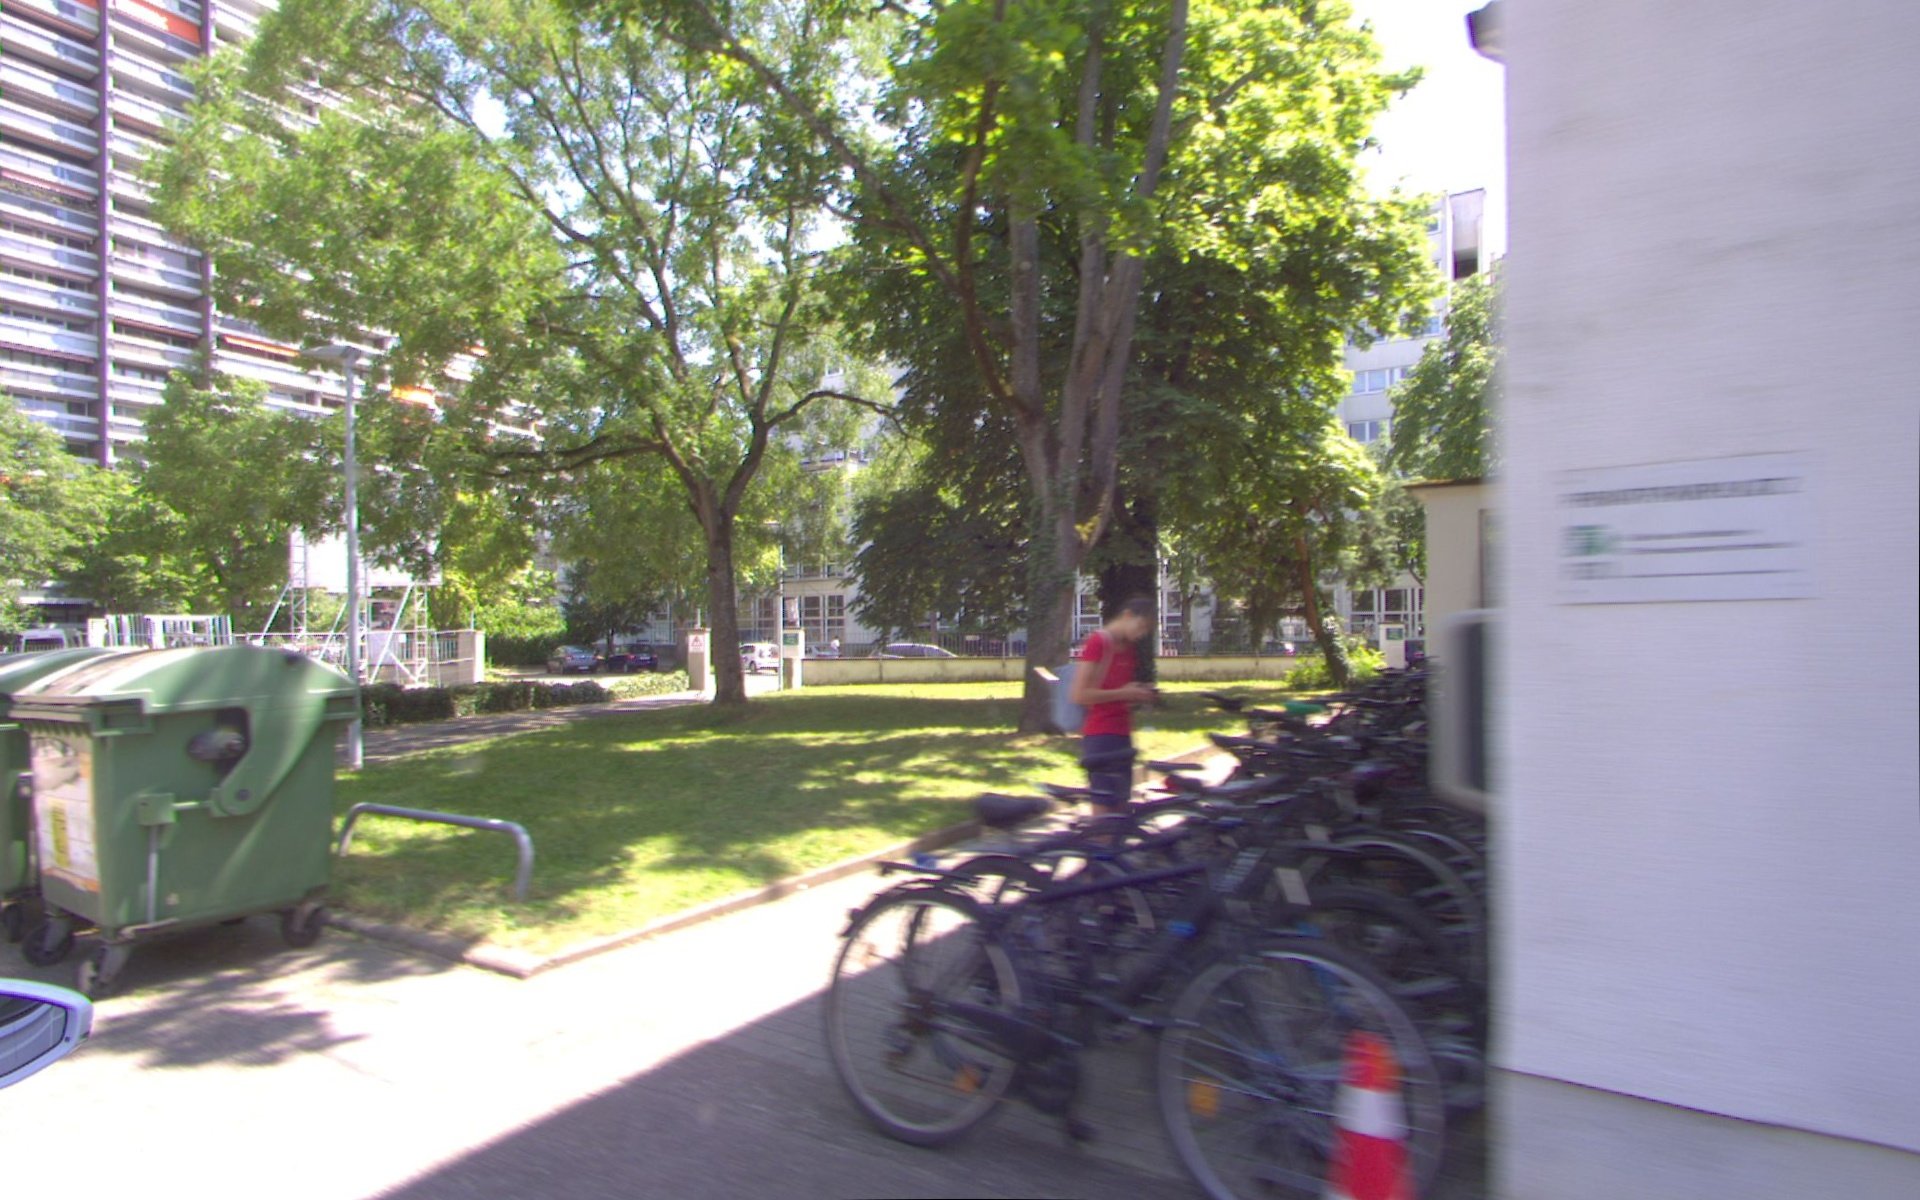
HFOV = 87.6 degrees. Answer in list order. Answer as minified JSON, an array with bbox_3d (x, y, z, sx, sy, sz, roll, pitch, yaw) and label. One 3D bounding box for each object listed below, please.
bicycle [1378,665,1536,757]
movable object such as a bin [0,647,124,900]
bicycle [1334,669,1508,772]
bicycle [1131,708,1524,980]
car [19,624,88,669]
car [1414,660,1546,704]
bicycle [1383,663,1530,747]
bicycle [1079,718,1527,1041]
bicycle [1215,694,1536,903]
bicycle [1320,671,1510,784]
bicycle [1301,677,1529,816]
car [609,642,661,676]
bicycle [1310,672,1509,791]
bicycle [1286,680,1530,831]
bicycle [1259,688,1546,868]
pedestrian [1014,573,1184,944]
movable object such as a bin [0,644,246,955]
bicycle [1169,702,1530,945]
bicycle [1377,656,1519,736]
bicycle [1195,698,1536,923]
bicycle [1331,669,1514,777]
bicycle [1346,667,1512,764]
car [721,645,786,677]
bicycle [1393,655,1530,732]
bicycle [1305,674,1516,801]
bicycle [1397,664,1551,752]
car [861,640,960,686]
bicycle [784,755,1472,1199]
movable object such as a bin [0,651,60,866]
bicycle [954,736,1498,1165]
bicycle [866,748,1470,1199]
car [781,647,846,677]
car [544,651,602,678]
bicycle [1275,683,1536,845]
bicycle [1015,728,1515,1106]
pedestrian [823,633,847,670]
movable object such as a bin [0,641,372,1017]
[{"bbox_3d":[6.453,1.417,13.052,1.801,1.115,0.404,-2,-2,33],"label":"bicycle"},{"bbox_3d":[-6.175,1.048,6.301,1.358,1.476,1.073,-2,-2,34],"label":"movable object such as a bin"},{"bbox_3d":[5.380,1.381,11.757,1.801,1.115,0.404,-2,-2,33],"label":"bicycle"},{"bbox_3d":[1.786,1.138,5.046,1.801,1.115,0.404,-2,-2,33],"label":"bicycle"},{"bbox_3d":[-48.612,2.510,53.792,2.164,2.286,4.837,0,-3,-35],"label":"car"},{"bbox_3d":[17.130,2.703,33.094,3.461,1.359,1.654,-1,-2,6],"label":"car"},{"bbox_3d":[6.996,1.454,14.159,1.801,1.115,0.404,-2,-2,33],"label":"bicycle"},{"bbox_3d":[1.430,1.117,4.396,1.801,1.115,0.404,-2,-2,33],"label":"bicycle"},{"bbox_3d":[2.556,1.177,6.287,1.801,1.115,0.404,-2,-2,33],"label":"bicycle"},{"bbox_3d":[4.844,1.324,10.733,1.801,1.115,0.404,-2,-2,33],"label":"bicycle"},{"bbox_3d":[4.029,1.263,8.951,1.801,1.115,0.404,-2,-2,33],"label":"bicycle"},{"bbox_3d":[-16.883,3.045,51.945,1.987,1.650,3.916,0,-2,-27],"label":"car"},{"bbox_3d":[4.580,1.309,10.267,1.801,1.115,0.404,-2,-2,33],"label":"bicycle"},{"bbox_3d":[3.685,1.243,8.328,1.801,1.115,0.404,-2,-2,33],"label":"bicycle"},{"bbox_3d":[3.094,1.202,7.109,1.801,1.115,0.404,-2,-2,33],"label":"bicycle"},{"bbox_3d":[0.725,0.775,5.216,0.680,1.771,0.549,-2,-2,34],"label":"pedestrian"},{"bbox_3d":[-4.901,0.999,5.601,1.358,1.476,1.073,-2,-2,34],"label":"movable object such as a bin"},{"bbox_3d":[2.090,1.153,5.529,1.801,1.115,0.404,-2,-2,33],"label":"bicycle"},{"bbox_3d":[7.258,1.440,14.944,1.802,1.115,0.404,-5,-4,33],"label":"bicycle"},{"bbox_3d":[2.332,1.164,5.897,1.801,1.115,0.404,-2,-2,33],"label":"bicycle"},{"bbox_3d":[5.129,1.337,11.168,1.801,1.115,0.404,-2,-2,33],"label":"bicycle"},{"bbox_3d":[5.780,1.401,12.403,1.801,1.115,0.404,-2,-2,33],"label":"bicycle"},{"bbox_3d":[-10.657,3.125,51.590,1.652,1.609,3.660,1,-3,-42],"label":"car"},{"bbox_3d":[7.738,1.455,15.511,1.802,1.115,0.404,-5,-4,33],"label":"bicycle"},{"bbox_3d":[4.319,1.288,9.670,1.801,1.115,0.404,-2,-2,33],"label":"bicycle"},{"bbox_3d":[6.907,1.429,13.512,1.801,1.115,0.404,-2,-2,33],"label":"bicycle"},{"bbox_3d":[-1.688,2.175,34.689,3.267,1.498,1.434,-1,-2,4],"label":"car"},{"bbox_3d":[0.338,1.041,2.687,1.801,1.115,0.404,-2,-2,33],"label":"bicycle"},{"bbox_3d":[-7.318,1.114,7.115,1.358,1.476,1.073,-2,-2,34],"label":"movable object such as a bin"},{"bbox_3d":[0.847,1.091,3.528,1.801,1.115,0.404,-2,-2,33],"label":"bicycle"},{"bbox_3d":[0.545,1.078,3.110,1.801,1.115,0.404,-2,-2,33],"label":"bicycle"},{"bbox_3d":[-7.505,3.142,51.064,1.650,1.433,3.684,1,-3,-38],"label":"car"},{"bbox_3d":[-20.017,3.314,51.775,1.896,1.327,3.905,1,-3,-36],"label":"car"},{"bbox_3d":[3.432,1.226,7.811,1.801,1.115,0.404,-2,-2,33],"label":"bicycle"},{"bbox_3d":[1.100,1.101,3.885,1.801,1.115,0.404,-2,-2,33],"label":"bicycle"},{"bbox_3d":[-6.993,2.877,56.000,0.866,2.039,0.990,-2,-2,36],"label":"pedestrian"},{"bbox_3d":[-3.721,0.948,4.806,1.358,1.476,1.073,-2,-2,34],"label":"movable object such as a bin"}]
